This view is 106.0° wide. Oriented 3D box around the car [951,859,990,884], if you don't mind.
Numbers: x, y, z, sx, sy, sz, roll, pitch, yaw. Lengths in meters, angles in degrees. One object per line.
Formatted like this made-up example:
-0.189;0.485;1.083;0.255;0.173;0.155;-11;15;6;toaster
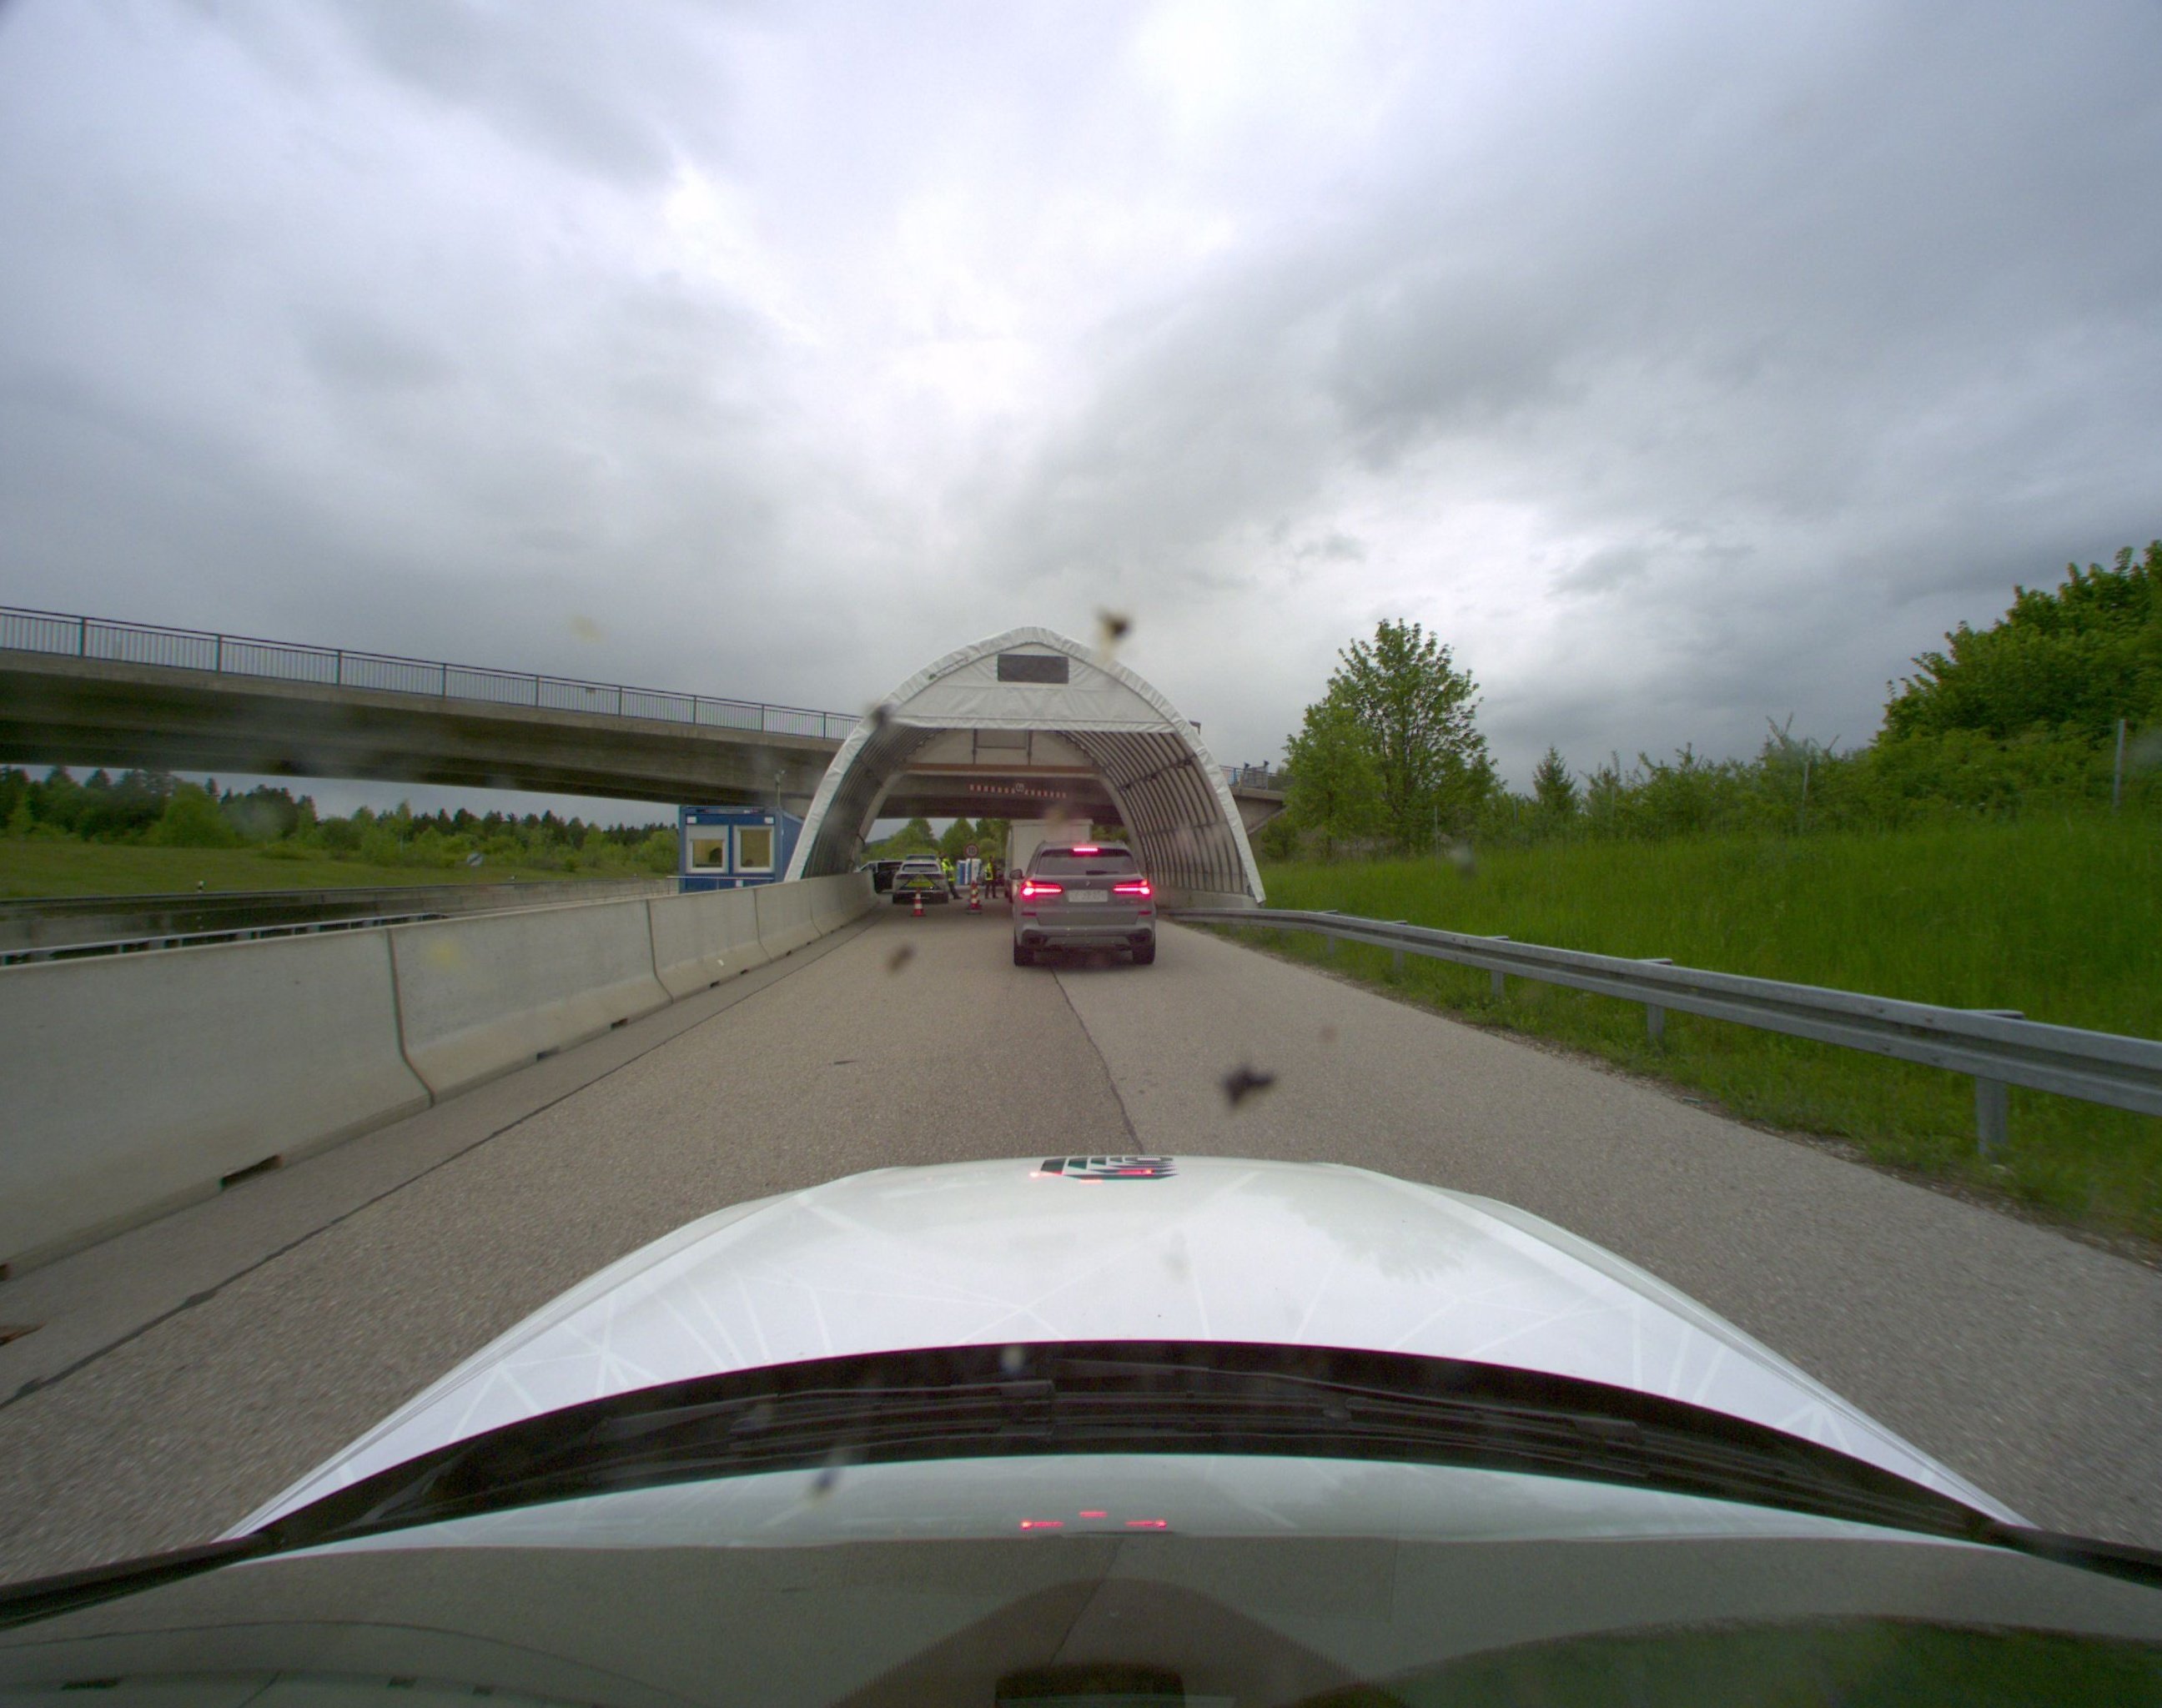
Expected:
-9.572;1.493;70.385;2.005;2.014;3.963;-1;-1;-28;car

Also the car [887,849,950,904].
-5.695;0.761;28.929;1.993;1.772;3.753;-1;-1;-9;car

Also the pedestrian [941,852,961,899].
-4.986;0.817;31.330;0.720;1.775;0.688;-1;-1;-9;pedestrian

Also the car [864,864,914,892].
-10.527;1.292;44.539;1.526;1.442;3.280;-1;-1;-34;car

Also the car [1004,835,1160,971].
-0.021;0.655;12.476;1.988;1.719;3.997;-1;-1;-1;car

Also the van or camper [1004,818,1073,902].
-1.688;0.274;30.036;2.154;2.764;5.857;-1;-1;-7;van or camper

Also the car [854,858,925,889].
-12.096;1.206;51.565;3.966;1.854;1.712;-2;-1;6;car

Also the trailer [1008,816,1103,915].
-0.941;0.363;23.754;2.276;2.431;6.802;-1;-1;-6;trailer

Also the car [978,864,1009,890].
-6.547;1.673;60.565;1.706;1.854;3.981;-1;-1;-14;car

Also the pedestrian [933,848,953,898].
-5.473;0.764;32.297;0.720;1.945;0.688;-1;-1;-9;pedestrian

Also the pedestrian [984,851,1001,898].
-3.438;0.790;31.630;0.604;1.775;0.648;-1;-1;-9;pedestrian
